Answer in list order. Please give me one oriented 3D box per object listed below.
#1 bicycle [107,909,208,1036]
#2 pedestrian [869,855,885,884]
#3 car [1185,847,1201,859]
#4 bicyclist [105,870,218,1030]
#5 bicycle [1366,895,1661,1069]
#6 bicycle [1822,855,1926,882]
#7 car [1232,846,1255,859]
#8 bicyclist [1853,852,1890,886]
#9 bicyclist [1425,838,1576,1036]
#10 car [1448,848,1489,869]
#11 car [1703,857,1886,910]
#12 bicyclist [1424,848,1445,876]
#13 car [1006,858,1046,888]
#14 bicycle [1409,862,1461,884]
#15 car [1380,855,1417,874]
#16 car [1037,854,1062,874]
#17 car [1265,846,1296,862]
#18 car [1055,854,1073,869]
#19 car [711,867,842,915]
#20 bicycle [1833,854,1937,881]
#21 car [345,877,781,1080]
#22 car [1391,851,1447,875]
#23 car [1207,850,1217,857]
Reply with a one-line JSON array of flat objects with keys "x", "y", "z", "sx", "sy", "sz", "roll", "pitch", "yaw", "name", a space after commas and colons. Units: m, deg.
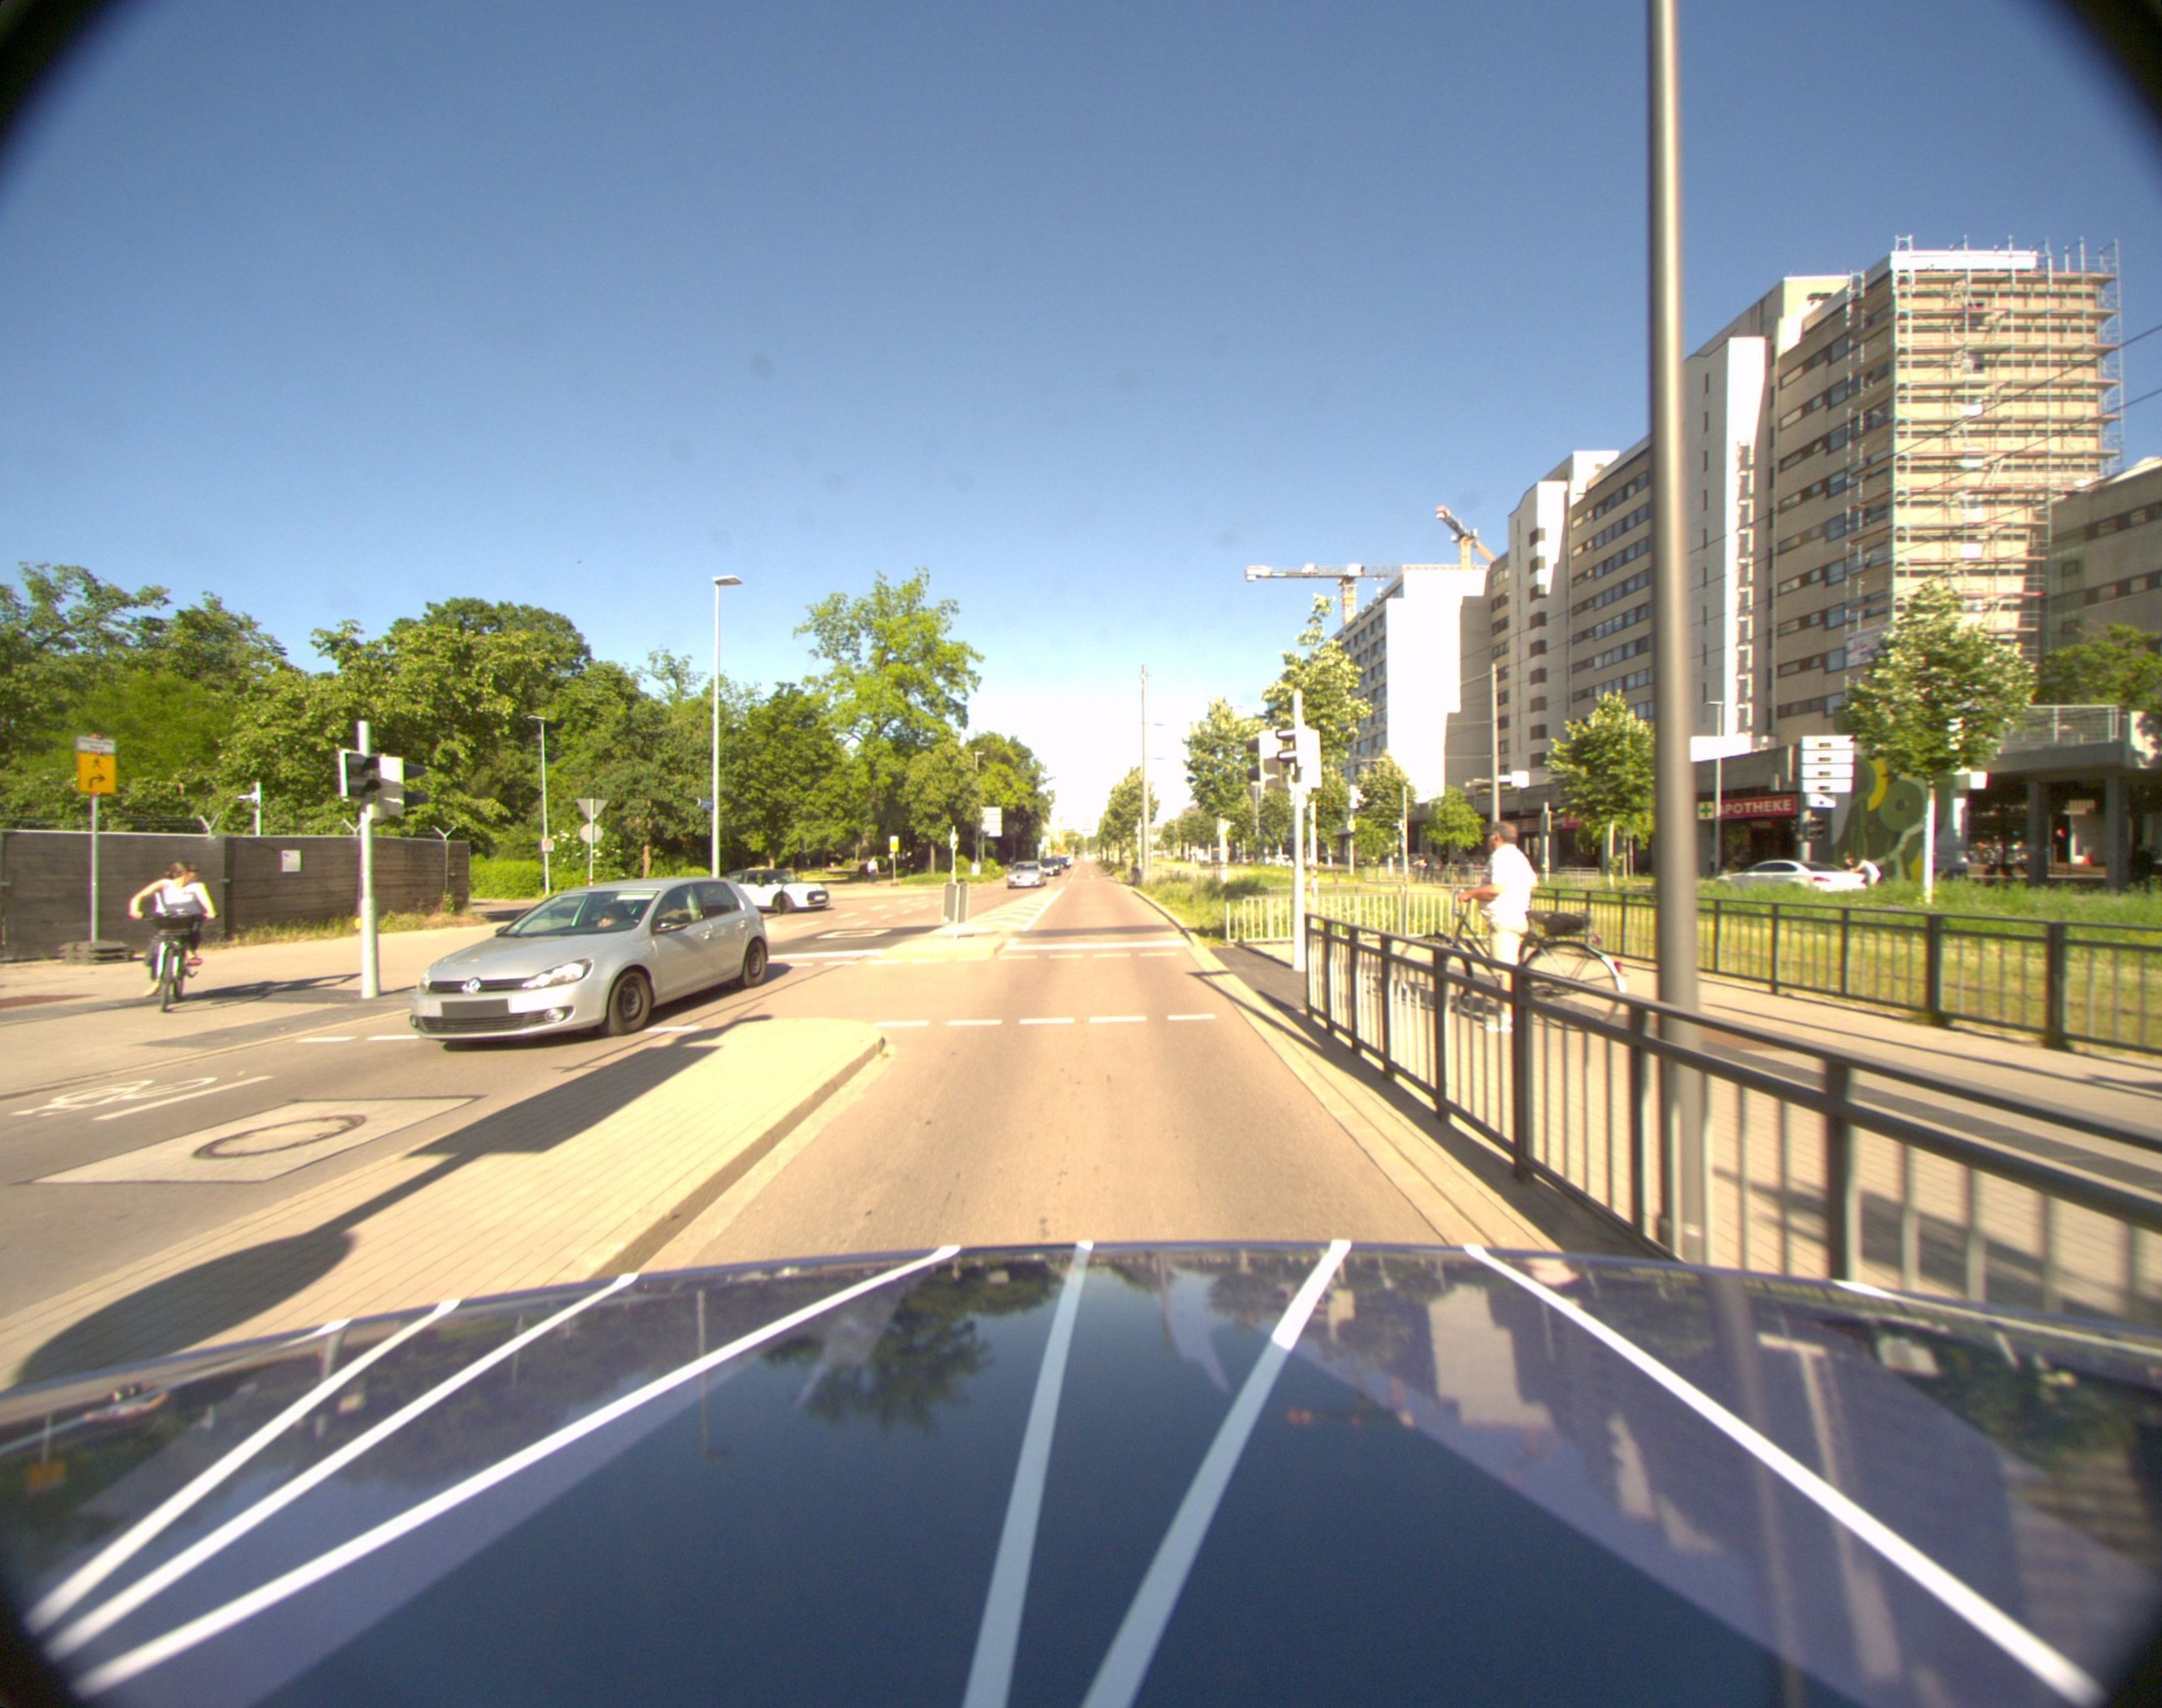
[{"x": -10.427, "y": 1.268, "z": 8.630, "sx": 2.118, "sy": 1.106, "sz": 0.605, "roll": 2, "pitch": 1, "yaw": 43, "name": "bicycle"}, {"x": -12.292, "y": 0.932, "z": 45.765, "sx": 0.739, "sy": 1.692, "sz": 0.873, "roll": -2, "pitch": 1, "yaw": -29, "name": "pedestrian"}, {"x": 18.682, "y": -0.166, "z": 127.111, "sx": 1.998, "sy": 1.808, "sz": 4.285, "roll": -2, "pitch": 1, "yaw": 1, "name": "car"}, {"x": -10.379, "y": 1.036, "z": 8.608, "sx": 0.850, "sy": 1.663, "sz": 0.745, "roll": 1, "pitch": 1, "yaw": 43, "name": "bicyclist"}, {"x": 3.476, "y": 0.947, "z": 6.364, "sx": 0.736, "sy": 1.085, "sz": 2.078, "roll": -2, "pitch": 1, "yaw": -26, "name": "bicycle"}, {"x": 29.267, "y": 0.514, "z": 28.116, "sx": 0.563, "sy": 0.946, "sz": 2.670, "roll": -2, "pitch": 1, "yaw": -19, "name": "bicycle"}, {"x": 21.465, "y": -0.189, "z": 100.481, "sx": 1.999, "sy": 1.569, "sz": 4.506, "roll": -2, "pitch": 1, "yaw": -1, "name": "car"}, {"x": 29.253, "y": 0.531, "z": 28.108, "sx": 0.580, "sy": 1.218, "sz": 0.766, "roll": -2, "pitch": 1, "yaw": -19, "name": "bicyclist"}, {"x": 3.482, "y": 0.634, "z": 6.330, "sx": 0.829, "sy": 1.503, "sz": 0.728, "roll": -2, "pitch": 1, "yaw": -25, "name": "bicyclist"}, {"x": 30.304, "y": 0.336, "z": 59.370, "sx": 1.712, "sy": 1.511, "sz": 4.008, "roll": -1, "pitch": 1, "yaw": 44, "name": "car"}, {"x": 24.313, "y": 0.927, "z": 26.169, "sx": 1.999, "sy": 1.569, "sz": 4.506, "roll": -2, "pitch": 1, "yaw": -1, "name": "car"}, {"x": 15.825, "y": 0.354, "z": 34.010, "sx": 0.766, "sy": 1.218, "sz": 0.581, "roll": -1, "pitch": 1, "yaw": 32, "name": "bicyclist"}, {"x": -2.946, "y": 0.991, "z": 41.223, "sx": 1.839, "sy": 1.415, "sz": 3.999, "roll": -2, "pitch": 1, "yaw": 0, "name": "car"}, {"x": 15.836, "y": 0.858, "z": 34.022, "sx": 2.011, "sy": 0.946, "sz": 0.563, "roll": -1, "pitch": 1, "yaw": 32, "name": "bicycle"}, {"x": 29.786, "y": 0.989, "z": 71.201, "sx": 1.791, "sy": 1.674, "sz": 4.008, "roll": -1, "pitch": 1, "yaw": 44, "name": "car"}, {"x": -2.642, "y": 0.803, "z": 63.023, "sx": 1.999, "sy": 1.493, "sz": 3.999, "roll": 0, "pitch": 1, "yaw": -2, "name": "car"}, {"x": 21.052, "y": -0.058, "z": 80.201, "sx": 1.999, "sy": 1.569, "sz": 4.506, "roll": -2, "pitch": 1, "yaw": -1, "name": "car"}, {"x": -2.009, "y": 0.895, "z": 90.411, "sx": 1.998, "sy": 1.718, "sz": 3.999, "roll": -2, "pitch": 1, "yaw": 0, "name": "car"}, {"x": -9.928, "y": 1.189, "z": 24.846, "sx": 3.703, "sy": 1.428, "sz": 1.775, "roll": -1, "pitch": 1, "yaw": 21, "name": "car"}, {"x": 29.930, "y": 0.493, "z": 28.371, "sx": 0.563, "sy": 0.946, "sz": 2.670, "roll": -2, "pitch": 1, "yaw": -19, "name": "bicycle"}, {"x": -5.016, "y": 1.082, "z": 8.177, "sx": 1.702, "sy": 1.466, "sz": 4.001, "roll": -2, "pitch": 1, "yaw": 4, "name": "car"}, {"x": 23.741, "y": 0.590, "z": 53.518, "sx": 1.999, "sy": 1.569, "sz": 4.105, "roll": 2, "pitch": 1, "yaw": -1, "name": "car"}, {"x": 32.155, "y": -0.129, "z": 186.493, "sx": 1.827, "sy": 1.499, "sz": 3.813, "roll": -2, "pitch": 1, "yaw": 1, "name": "car"}]
